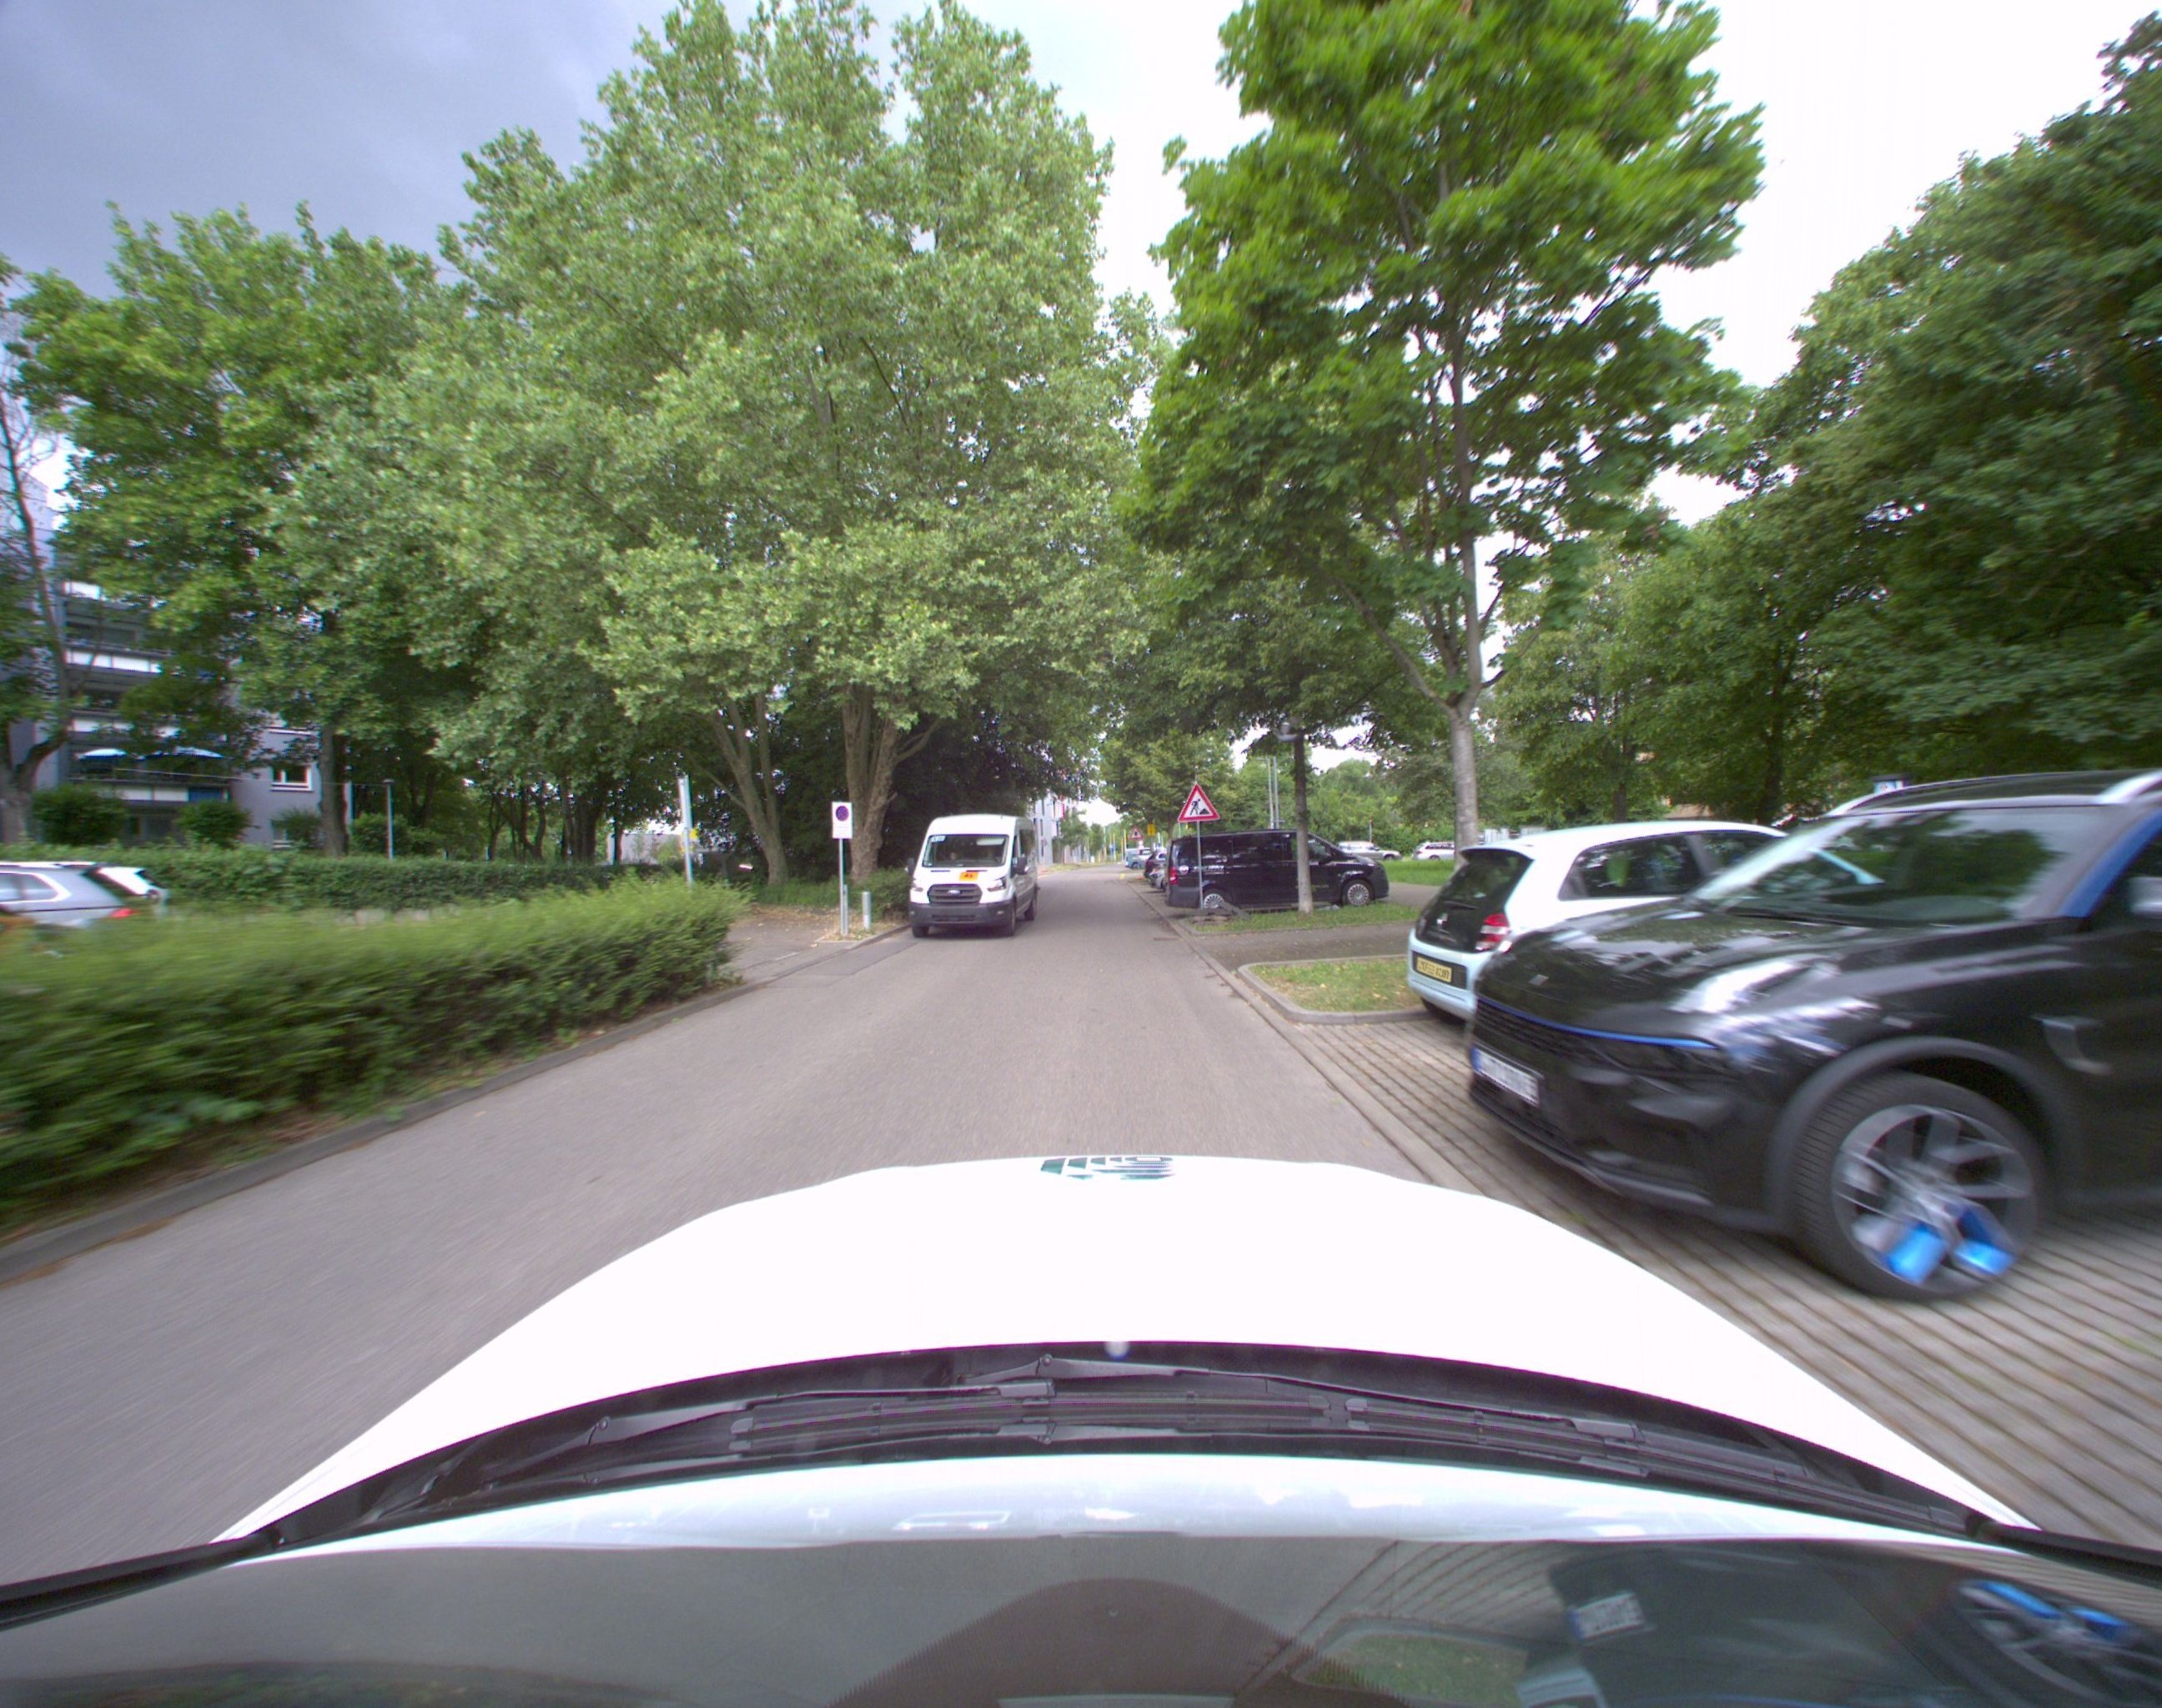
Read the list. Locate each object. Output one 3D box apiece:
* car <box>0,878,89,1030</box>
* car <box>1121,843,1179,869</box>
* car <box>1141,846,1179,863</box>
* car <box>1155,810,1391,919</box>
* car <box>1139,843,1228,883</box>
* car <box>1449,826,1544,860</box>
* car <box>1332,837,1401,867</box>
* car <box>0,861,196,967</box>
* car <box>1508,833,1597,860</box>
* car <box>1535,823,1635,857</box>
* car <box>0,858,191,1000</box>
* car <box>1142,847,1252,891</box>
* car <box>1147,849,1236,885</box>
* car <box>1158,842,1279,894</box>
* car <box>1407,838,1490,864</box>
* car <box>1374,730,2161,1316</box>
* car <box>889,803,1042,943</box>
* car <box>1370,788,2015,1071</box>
[{"bbox_3d":[-12.013,0.995,7.173,1.727,1.430,4.024,-2,-1,44],"label":"car"},{"bbox_3d":[6.058,0.156,72.230,4.953,1.972,1.847,-4,0,2],"label":"car"},{"bbox_3d":[9.301,0.093,95.531,4.357,1.904,1.940,-1,0,6],"label":"car"},{"bbox_3d":[4.329,0.235,19.039,4.935,2.013,2.167,-4,0,2],"label":"car"},{"bbox_3d":[4.949,0.430,39.567,4.104,1.650,1.982,-4,-1,4],"label":"car"},{"bbox_3d":[28.273,-0.726,55.565,5.290,2.057,2.142,-2,-1,7],"label":"car"},{"bbox_3d":[17.861,-0.097,51.145,3.758,1.668,1.772,-3,-1,8],"label":"car"},{"bbox_3d":[-17.824,0.992,13.518,4.139,1.648,1.785,-1,-1,-44],"label":"car"},{"bbox_3d":[28.965,-0.447,50.096,4.404,1.428,1.707,-2,-1,8],"label":"car"},{"bbox_3d":[34.067,-0.918,55.166,5.290,2.057,2.142,-2,-1,7],"label":"car"},{"bbox_3d":[-13.526,0.908,9.618,1.802,1.611,4.024,-2,-1,44],"label":"car"},{"bbox_3d":[4.457,0.573,31.682,3.973,1.430,1.935,-4,-1,0],"label":"car"},{"bbox_3d":[4.965,0.588,36.850,3.814,1.358,1.824,-4,-1,4],"label":"car"},{"bbox_3d":[4.807,0.489,28.965,3.972,1.528,1.811,-4,-1,1],"label":"car"},{"bbox_3d":[22.698,-0.161,50.429,4.369,1.428,1.706,-2,-1,7],"label":"car"},{"bbox_3d":[3.870,0.417,3.517,4.400,1.675,2.082,-4,0,0],"label":"car"},{"bbox_3d":[-2.217,0.337,17.713,2.123,2.476,6.281,-1,0,3],"label":"car"},{"bbox_3d":[4.178,0.475,6.050,3.367,1.574,1.797,-4,0,1],"label":"car"}]
